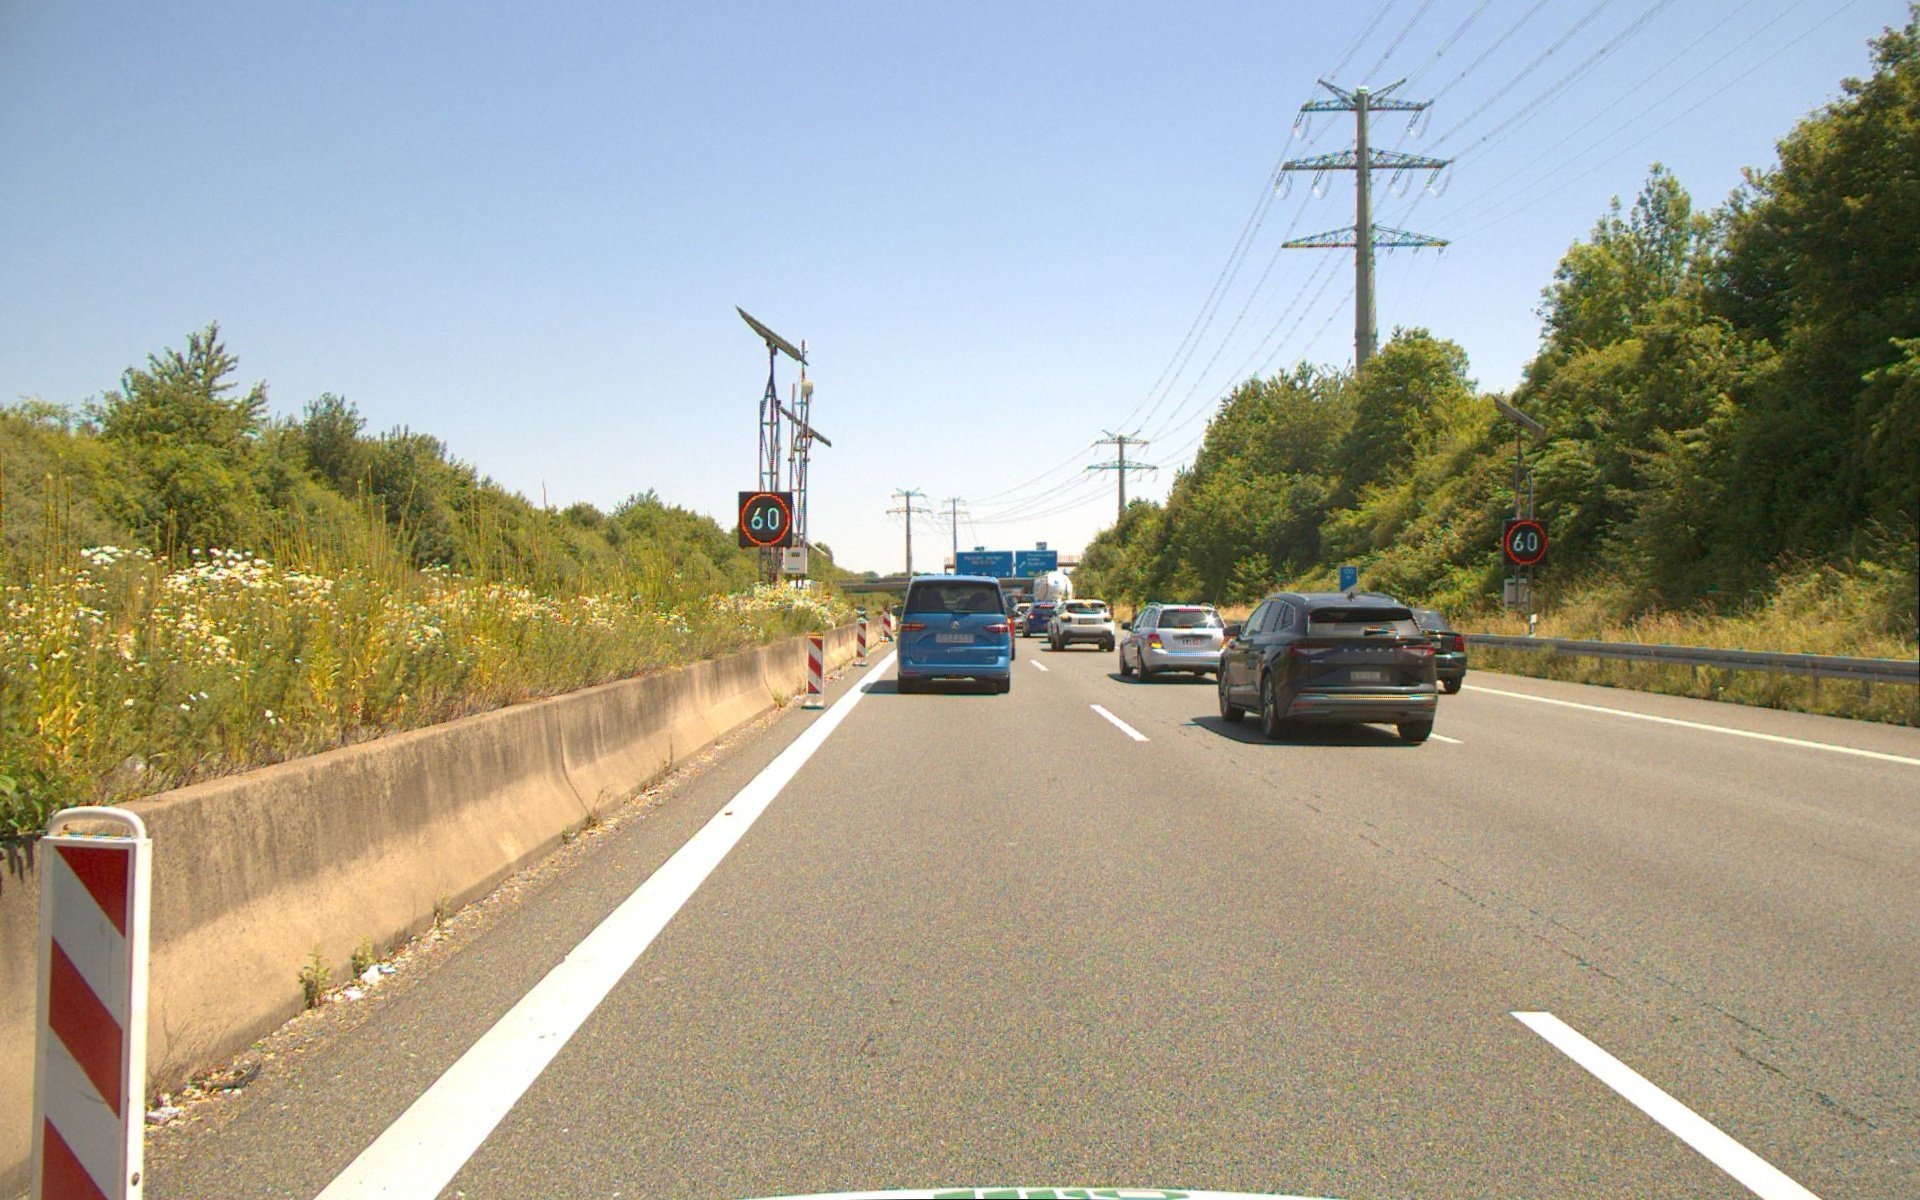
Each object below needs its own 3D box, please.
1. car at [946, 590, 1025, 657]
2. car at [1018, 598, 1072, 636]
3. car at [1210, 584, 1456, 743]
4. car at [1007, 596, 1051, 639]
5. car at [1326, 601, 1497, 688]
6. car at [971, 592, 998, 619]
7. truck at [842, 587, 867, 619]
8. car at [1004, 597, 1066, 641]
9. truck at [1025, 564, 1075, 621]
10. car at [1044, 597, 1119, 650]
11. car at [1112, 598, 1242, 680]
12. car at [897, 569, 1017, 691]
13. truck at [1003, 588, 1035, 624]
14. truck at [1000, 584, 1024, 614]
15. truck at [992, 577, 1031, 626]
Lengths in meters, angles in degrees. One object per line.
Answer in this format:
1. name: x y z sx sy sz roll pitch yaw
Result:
1. car: 0.604 0.577 43.195 1.870 1.659 4.382 0 0 -2
2. car: 3.555 0.702 69.706 1.870 1.542 4.381 1 0 -2
3. car: 4.240 0.655 19.522 1.791 1.642 4.429 1 0 -1
4. car: 3.405 0.846 82.159 1.953 2.049 3.999 1 0 -1
5. car: 7.930 0.743 29.426 1.700 1.402 4.300 1 0 -2
6. car: 1.905 0.417 131.092 1.953 2.049 3.999 1 0 -2
7. truck: -13.487 0.381 212.345 2.706 3.956 9.027 -2 0 -1
8. car: 2.728 0.664 61.089 1.870 1.542 4.381 1 0 -2
9. truck: 6.981 -0.536 130.716 2.591 4.143 16.435 1 0 -2
10. car: 3.713 0.691 51.085 1.870 1.534 3.919 1 0 -2
11. car: 4.149 0.717 32.259 1.784 1.462 4.381 1 0 -2
12. car: -0.127 0.476 28.362 1.833 1.912 4.381 1 0 -3
13. truck: 6.281 0.622 176.956 2.591 3.600 12.547 1 0 -2
14. truck: 7.923 -0.154 252.079 2.878 4.366 12.547 1 0 -2
15. truck: 2.990 0.089 97.433 1.953 2.771 5.678 1 0 -2
